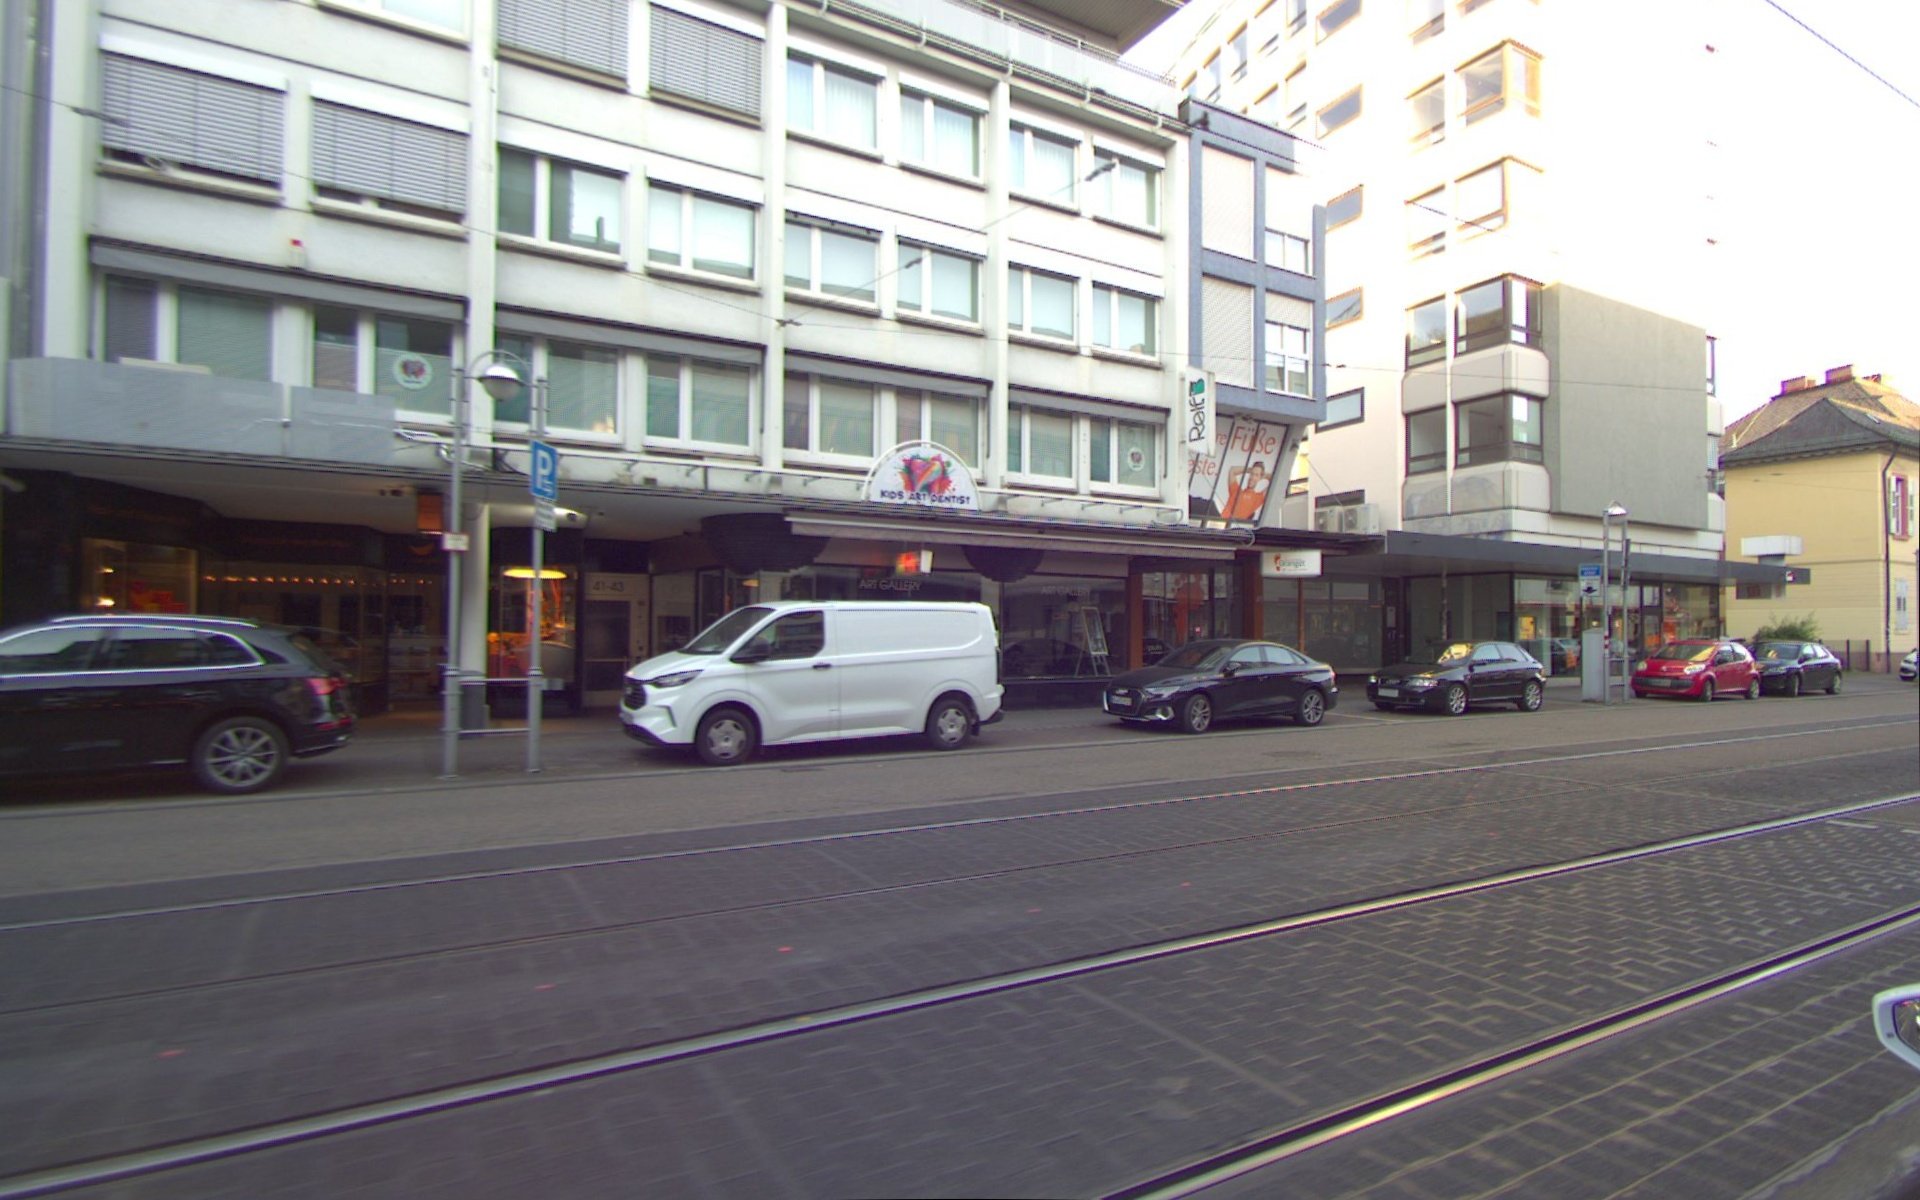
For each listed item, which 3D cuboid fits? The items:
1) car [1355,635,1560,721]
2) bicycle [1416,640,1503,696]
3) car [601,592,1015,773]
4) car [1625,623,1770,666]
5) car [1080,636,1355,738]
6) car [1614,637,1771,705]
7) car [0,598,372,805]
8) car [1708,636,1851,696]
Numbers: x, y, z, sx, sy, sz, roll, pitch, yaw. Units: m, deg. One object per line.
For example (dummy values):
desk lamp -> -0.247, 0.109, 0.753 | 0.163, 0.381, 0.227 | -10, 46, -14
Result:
car -> 10.166, 1.516, 20.446 | 4.396, 1.532, 1.677 | 1, -1, -32
bicycle -> 13.347, 1.790, 26.894 | 0.824, 1.444, 1.958 | 1, -2, -31
car -> -1.907, 0.997, 13.316 | 5.104, 2.003, 1.945 | 1, -2, -32
car -> 27.448, 1.638, 37.518 | 1.823, 1.486, 3.972 | 1, -2, -28
car -> 4.428, 1.384, 17.096 | 4.507, 1.485, 1.983 | 1, -1, -31
car -> 18.534, 1.734, 25.374 | 4.165, 1.532, 1.678 | 1, -1, -30
car -> -8.238, 0.884, 9.618 | 4.476, 1.744, 1.848 | 1, 0, -31
car -> 22.581, 1.764, 27.656 | 4.165, 1.532, 1.678 | 1, -2, -30
